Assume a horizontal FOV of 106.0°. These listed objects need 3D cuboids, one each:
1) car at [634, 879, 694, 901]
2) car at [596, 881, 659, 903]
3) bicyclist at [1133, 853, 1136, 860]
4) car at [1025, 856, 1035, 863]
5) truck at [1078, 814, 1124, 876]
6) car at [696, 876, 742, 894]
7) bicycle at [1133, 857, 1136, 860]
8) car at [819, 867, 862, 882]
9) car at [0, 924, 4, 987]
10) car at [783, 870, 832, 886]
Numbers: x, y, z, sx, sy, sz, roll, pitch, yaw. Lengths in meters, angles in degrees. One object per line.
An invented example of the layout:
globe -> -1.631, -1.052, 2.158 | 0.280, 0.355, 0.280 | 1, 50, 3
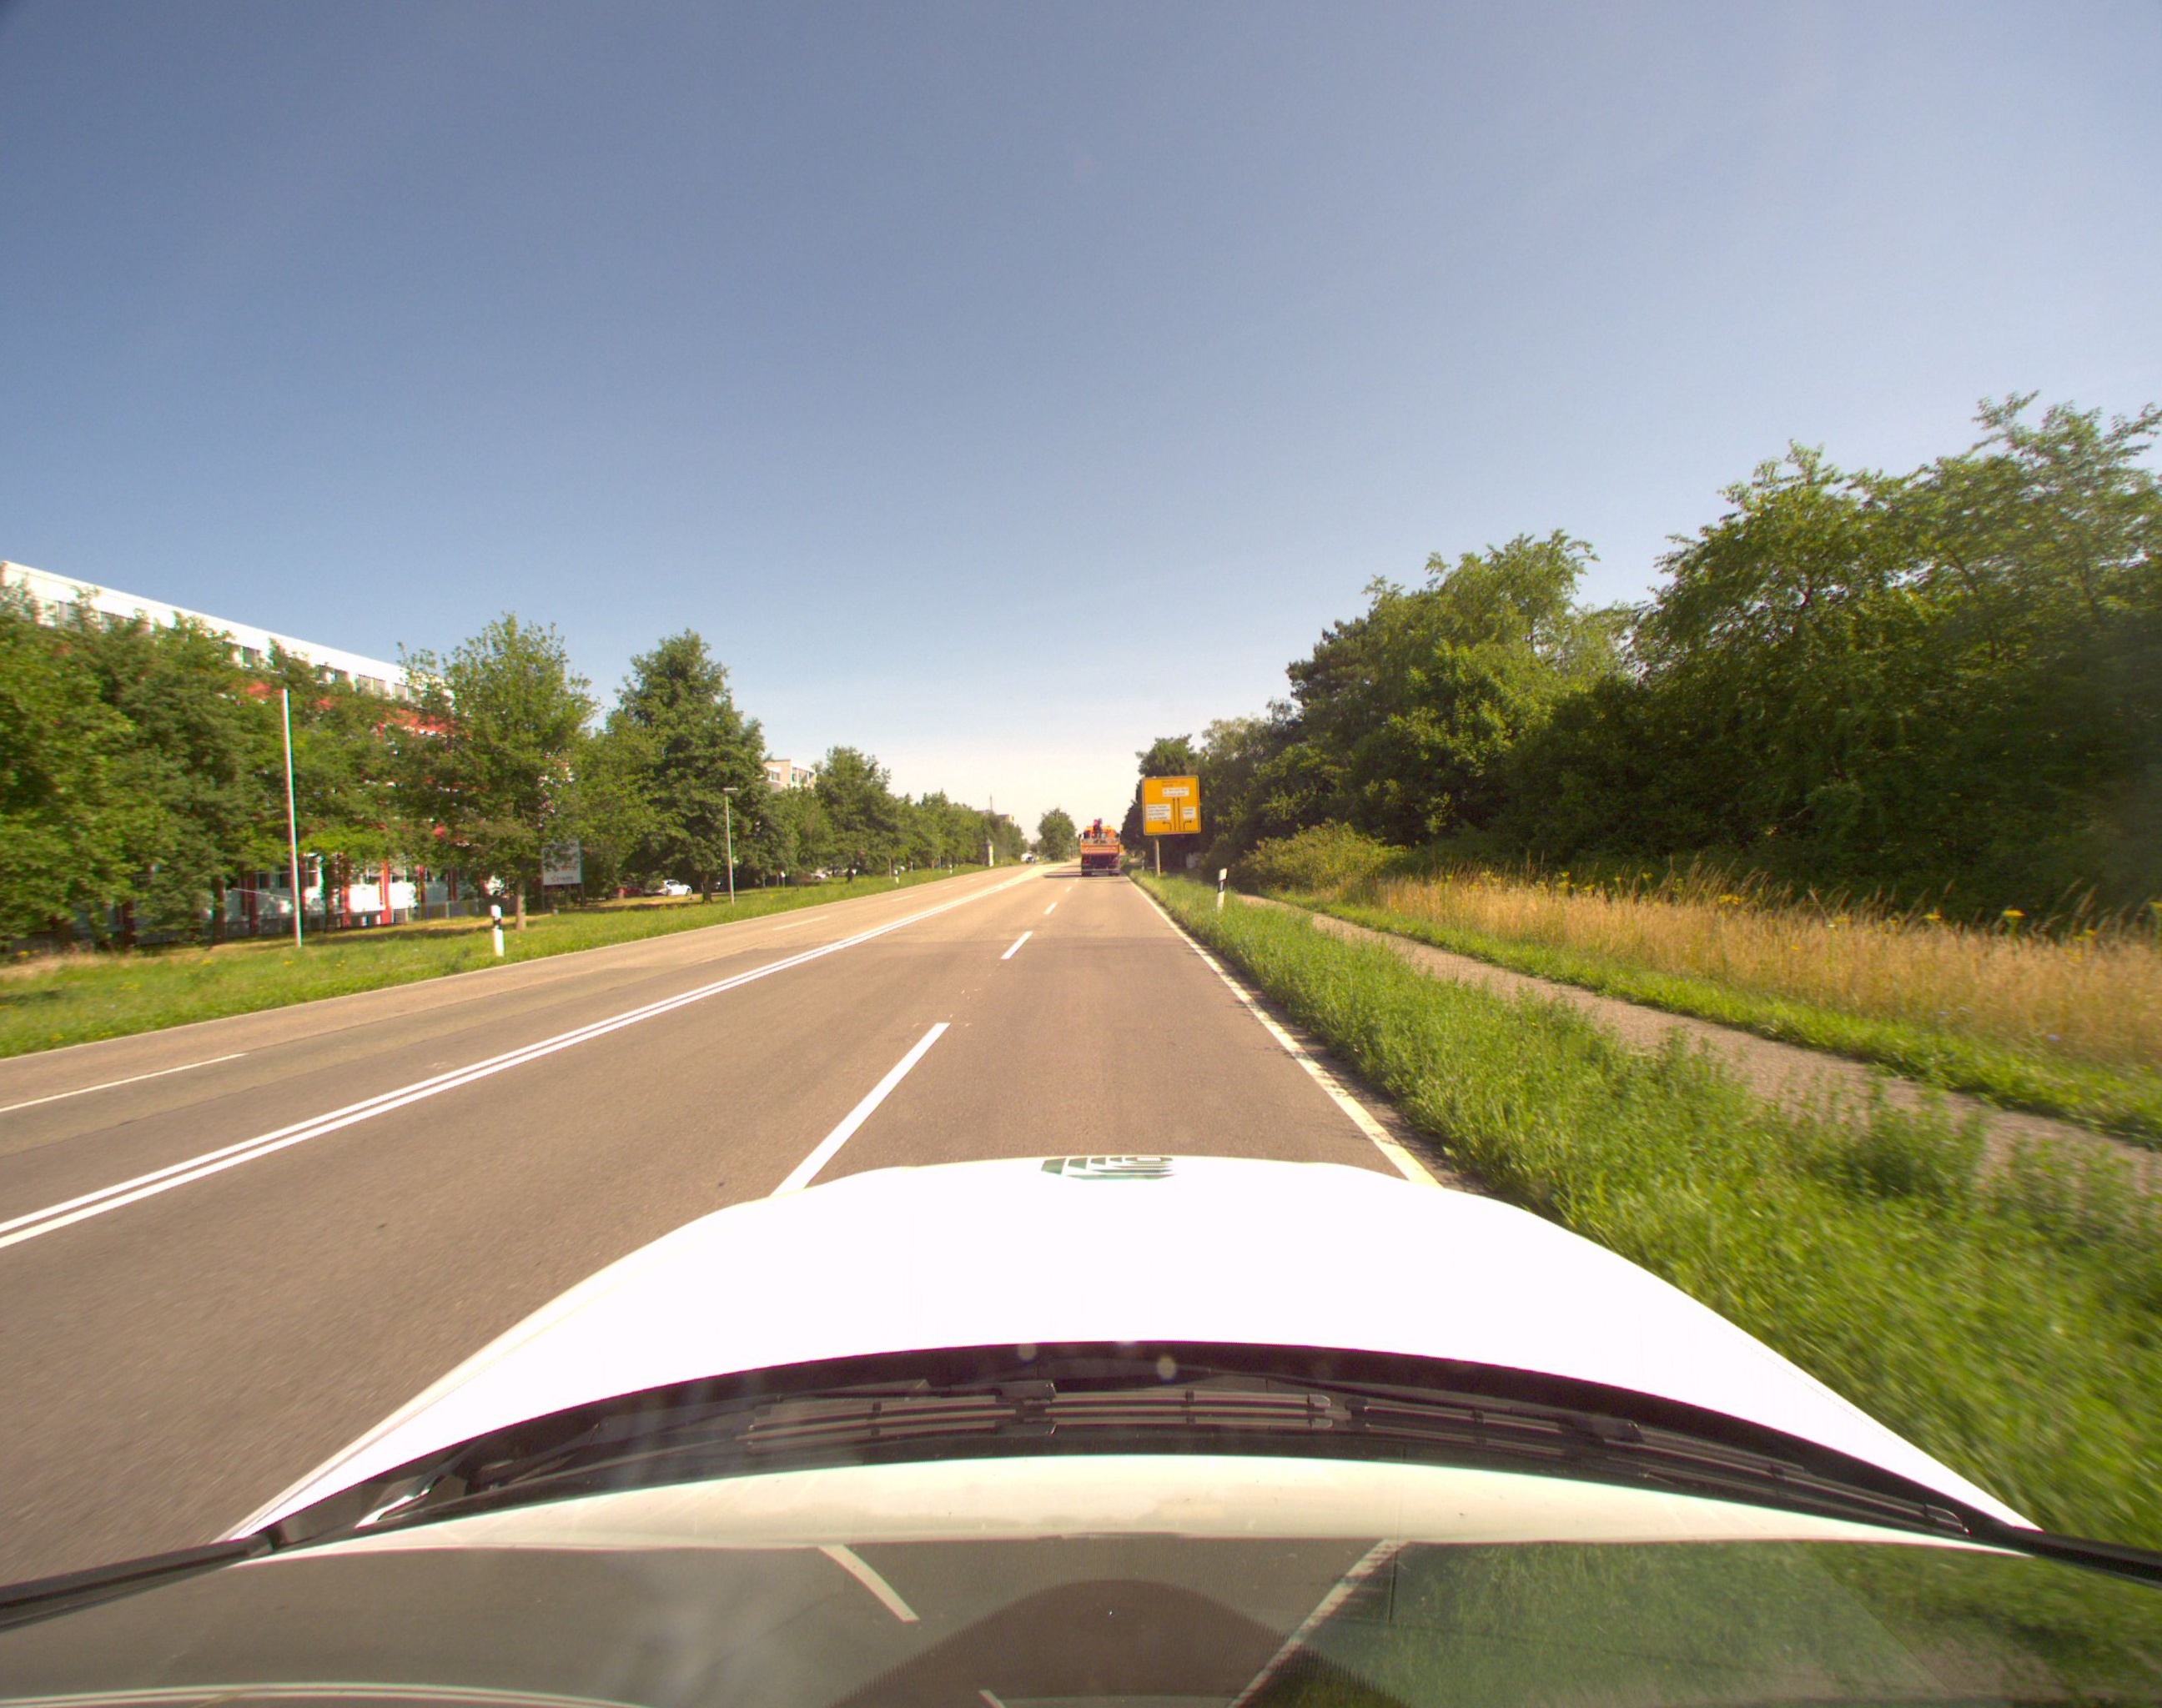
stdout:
car -> -33.142, 2.848, 64.942 | 1.985, 1.437, 4.959 | -3, 0, 3
car -> -35.750, 2.987, 64.384 | 1.985, 1.437, 4.959 | -3, 0, 3
bicyclist -> 11.848, 0.516, 179.947 | 0.556, 1.558, 0.557 | -3, 0, 1
car -> -11.657, 1.282, 186.322 | 1.794, 1.572, 4.001 | -3, 0, 1
truck -> 1.248, -0.554, 54.809 | 2.863, 3.880, 7.397 | -1, 0, -1
car -> -33.257, 2.821, 74.911 | 1.986, 1.437, 4.611 | -3, 0, 1
bicycle -> 11.871, 0.992, 179.947 | 0.556, 0.816, 1.964 | -3, 0, 1
car -> -29.795, 2.526, 101.014 | 4.579, 1.650, 2.000 | -3, 0, 1
car -> -28.055, 2.594, 18.226 | 1.737, 1.578, 4.550 | -3, 0, 1
car -> -29.842, 2.610, 89.011 | 4.579, 1.437, 2.000 | -3, 0, 1
